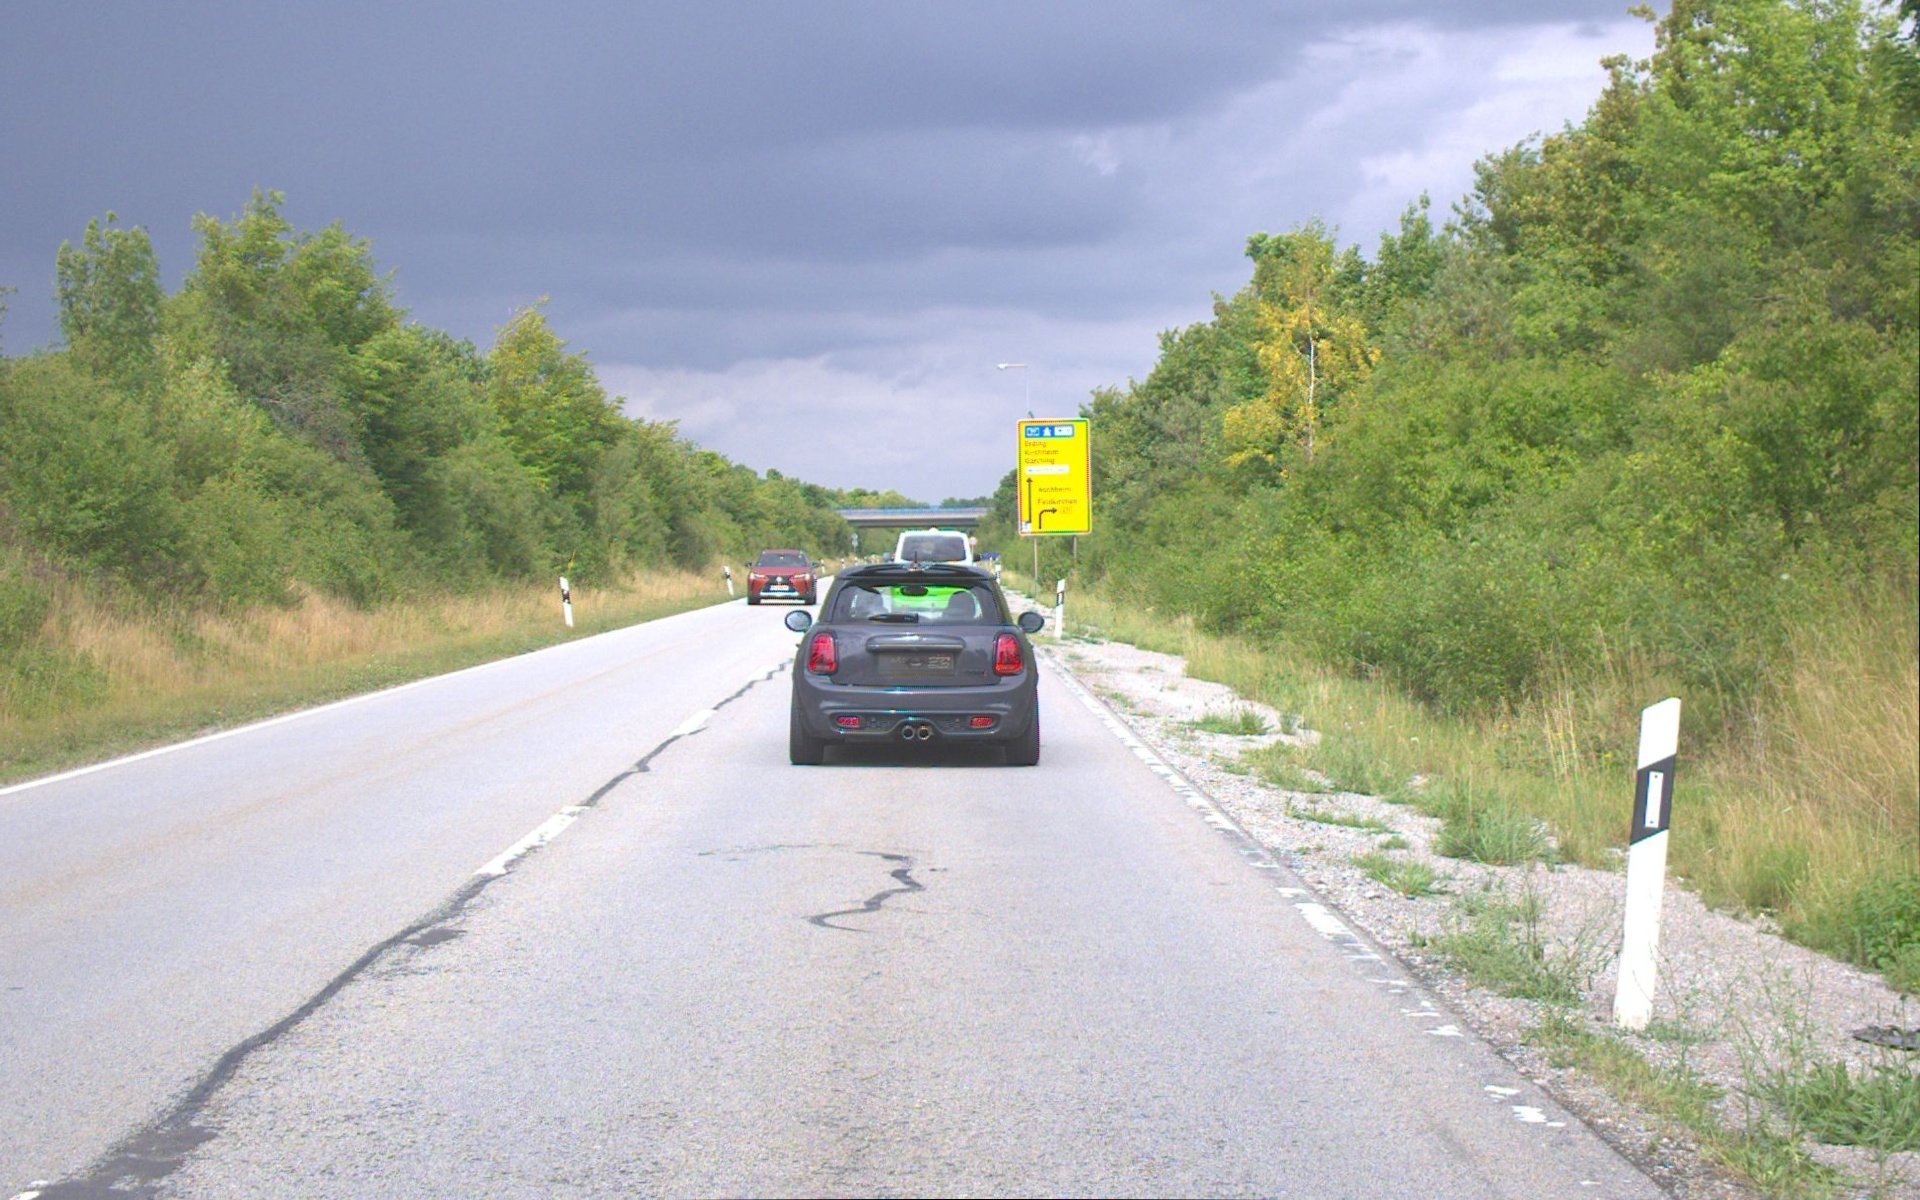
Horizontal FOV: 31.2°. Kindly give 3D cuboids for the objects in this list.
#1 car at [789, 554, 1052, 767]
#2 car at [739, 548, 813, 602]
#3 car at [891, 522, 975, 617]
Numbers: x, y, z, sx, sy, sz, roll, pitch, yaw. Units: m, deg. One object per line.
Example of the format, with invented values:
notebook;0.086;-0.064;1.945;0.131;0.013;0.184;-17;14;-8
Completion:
car;-0.291;0.387;25.266;1.756;1.422;4.000;1;1;-1
car;-5.070;-0.709;95.130;1.829;1.460;4.411;0;1;-1
car;-0.611;-0.686;77.179;1.819;2.047;4.000;1;1;-1
